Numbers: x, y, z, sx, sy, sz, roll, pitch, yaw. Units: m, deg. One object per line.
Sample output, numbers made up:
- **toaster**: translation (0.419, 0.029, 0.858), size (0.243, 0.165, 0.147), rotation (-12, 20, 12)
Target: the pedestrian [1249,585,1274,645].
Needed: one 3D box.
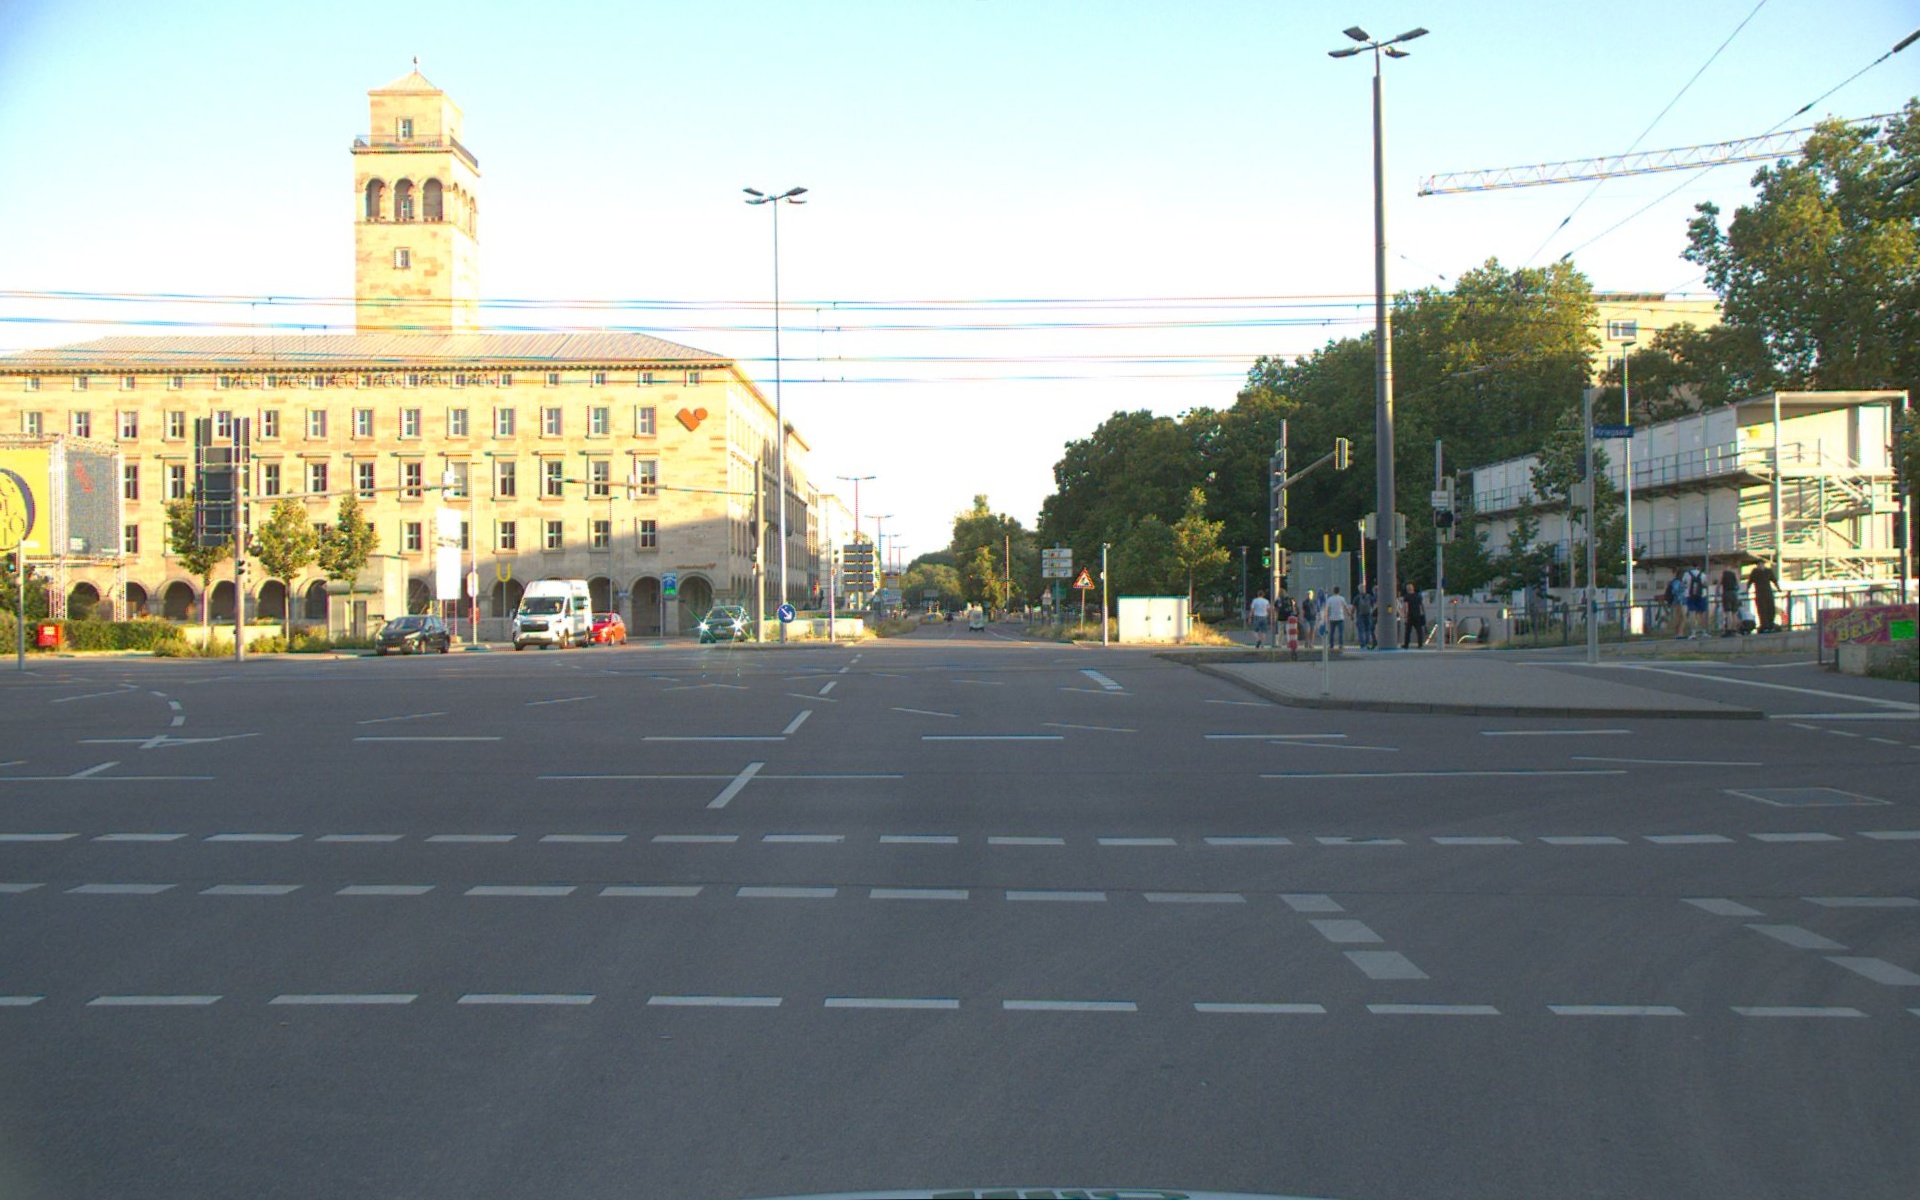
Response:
- **pedestrian**: translation (9.011, 0.448, 49.343), size (0.695, 1.755, 0.669), rotation (-1, 0, 12)

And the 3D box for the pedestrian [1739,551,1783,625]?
- **pedestrian**: translation (19.100, -0.285, 39.437), size (0.696, 1.755, 0.668), rotation (-1, 0, -3)

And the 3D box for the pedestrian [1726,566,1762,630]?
- **pedestrian**: translation (18.178, -0.036, 38.358), size (0.662, 1.466, 0.714), rotation (-1, 0, 21)

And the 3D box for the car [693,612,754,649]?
- **car**: translation (-9.427, 1.184, 66.140), size (1.785, 1.365, 4.001), rotation (-1, 0, 1)

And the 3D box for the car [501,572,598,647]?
- **car**: translation (-16.282, 0.364, 66.011), size (2.232, 2.824, 6.084), rotation (-1, 0, 1)

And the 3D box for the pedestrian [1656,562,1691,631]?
- **pedestrian**: translation (16.834, -0.075, 39.025), size (0.559, 1.620, 0.536), rotation (-1, 0, -1)

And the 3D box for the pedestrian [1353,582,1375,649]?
- **pedestrian**: translation (11.048, 0.430, 45.265), size (0.560, 1.823, 0.639), rotation (-1, 0, 13)

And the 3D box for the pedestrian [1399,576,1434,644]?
- **pedestrian**: translation (12.366, 0.276, 44.776), size (0.788, 1.823, 0.801), rotation (-1, 0, 7)

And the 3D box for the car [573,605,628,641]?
- **car**: translation (-16.216, 1.023, 74.742), size (1.703, 1.513, 3.999), rotation (-1, 0, -1)

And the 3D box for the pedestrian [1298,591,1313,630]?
- **pedestrian**: translation (16.966, 0.514, 81.242), size (0.652, 1.875, 0.713), rotation (-1, 0, 4)

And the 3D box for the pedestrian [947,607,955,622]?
- **pedestrian**: translation (-1.064, 1.658, 188.308), size (0.888, 1.700, 1.306), rotation (-1, 0, -2)

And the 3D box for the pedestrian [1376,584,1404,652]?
- **pedestrian**: translation (11.400, 0.475, 43.835), size (0.688, 1.765, 0.848), rotation (-1, 0, 15)

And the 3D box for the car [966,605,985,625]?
- **car**: translation (1.318, 1.284, 143.649), size (1.453, 1.725, 2.972), rotation (-1, 0, -2)

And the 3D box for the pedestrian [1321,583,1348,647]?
- **pedestrian**: translation (10.408, 0.416, 46.011), size (0.695, 1.755, 0.916), rotation (-1, 0, 12)

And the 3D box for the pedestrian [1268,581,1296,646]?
- **pedestrian**: translation (8.741, 0.357, 44.905), size (0.695, 1.755, 0.916), rotation (-1, 0, 10)

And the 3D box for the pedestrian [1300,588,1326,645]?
- **pedestrian**: translation (11.207, 0.523, 52.530), size (0.665, 1.788, 0.902), rotation (-1, 0, 20)

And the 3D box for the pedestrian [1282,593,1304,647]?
- **pedestrian**: translation (10.616, 0.628, 52.740), size (0.548, 1.684, 0.902), rotation (-1, 0, 20)

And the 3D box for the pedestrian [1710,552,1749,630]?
- **pedestrian**: translation (17.565, -0.207, 37.784), size (0.696, 1.755, 0.669), rotation (-1, 0, 16)

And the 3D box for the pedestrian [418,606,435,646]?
- **pedestrian**: translation (-24.163, 1.174, 74.972), size (0.609, 1.774, 0.459), rotation (1, -1, -6)

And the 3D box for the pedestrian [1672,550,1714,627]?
- **pedestrian**: translation (16.813, -0.261, 37.963), size (0.696, 1.755, 0.669), rotation (-1, 0, 6)

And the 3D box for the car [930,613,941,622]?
- **car**: translation (-3.373, 2.437, 228.387), size (1.341, 1.256, 3.045), rotation (-1, 0, 1)

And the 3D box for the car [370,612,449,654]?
- **car**: translation (-21.163, 1.241, 63.743), size (1.786, 1.492, 4.156), rotation (-1, 0, -2)

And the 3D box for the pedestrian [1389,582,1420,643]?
- **pedestrian**: translation (13.463, 0.381, 50.100), size (0.788, 1.823, 0.801), rotation (-1, 0, 7)

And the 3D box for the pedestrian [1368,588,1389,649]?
- **pedestrian**: translation (11.874, 0.528, 46.913), size (0.560, 1.708, 0.639), rotation (-1, 0, 13)
